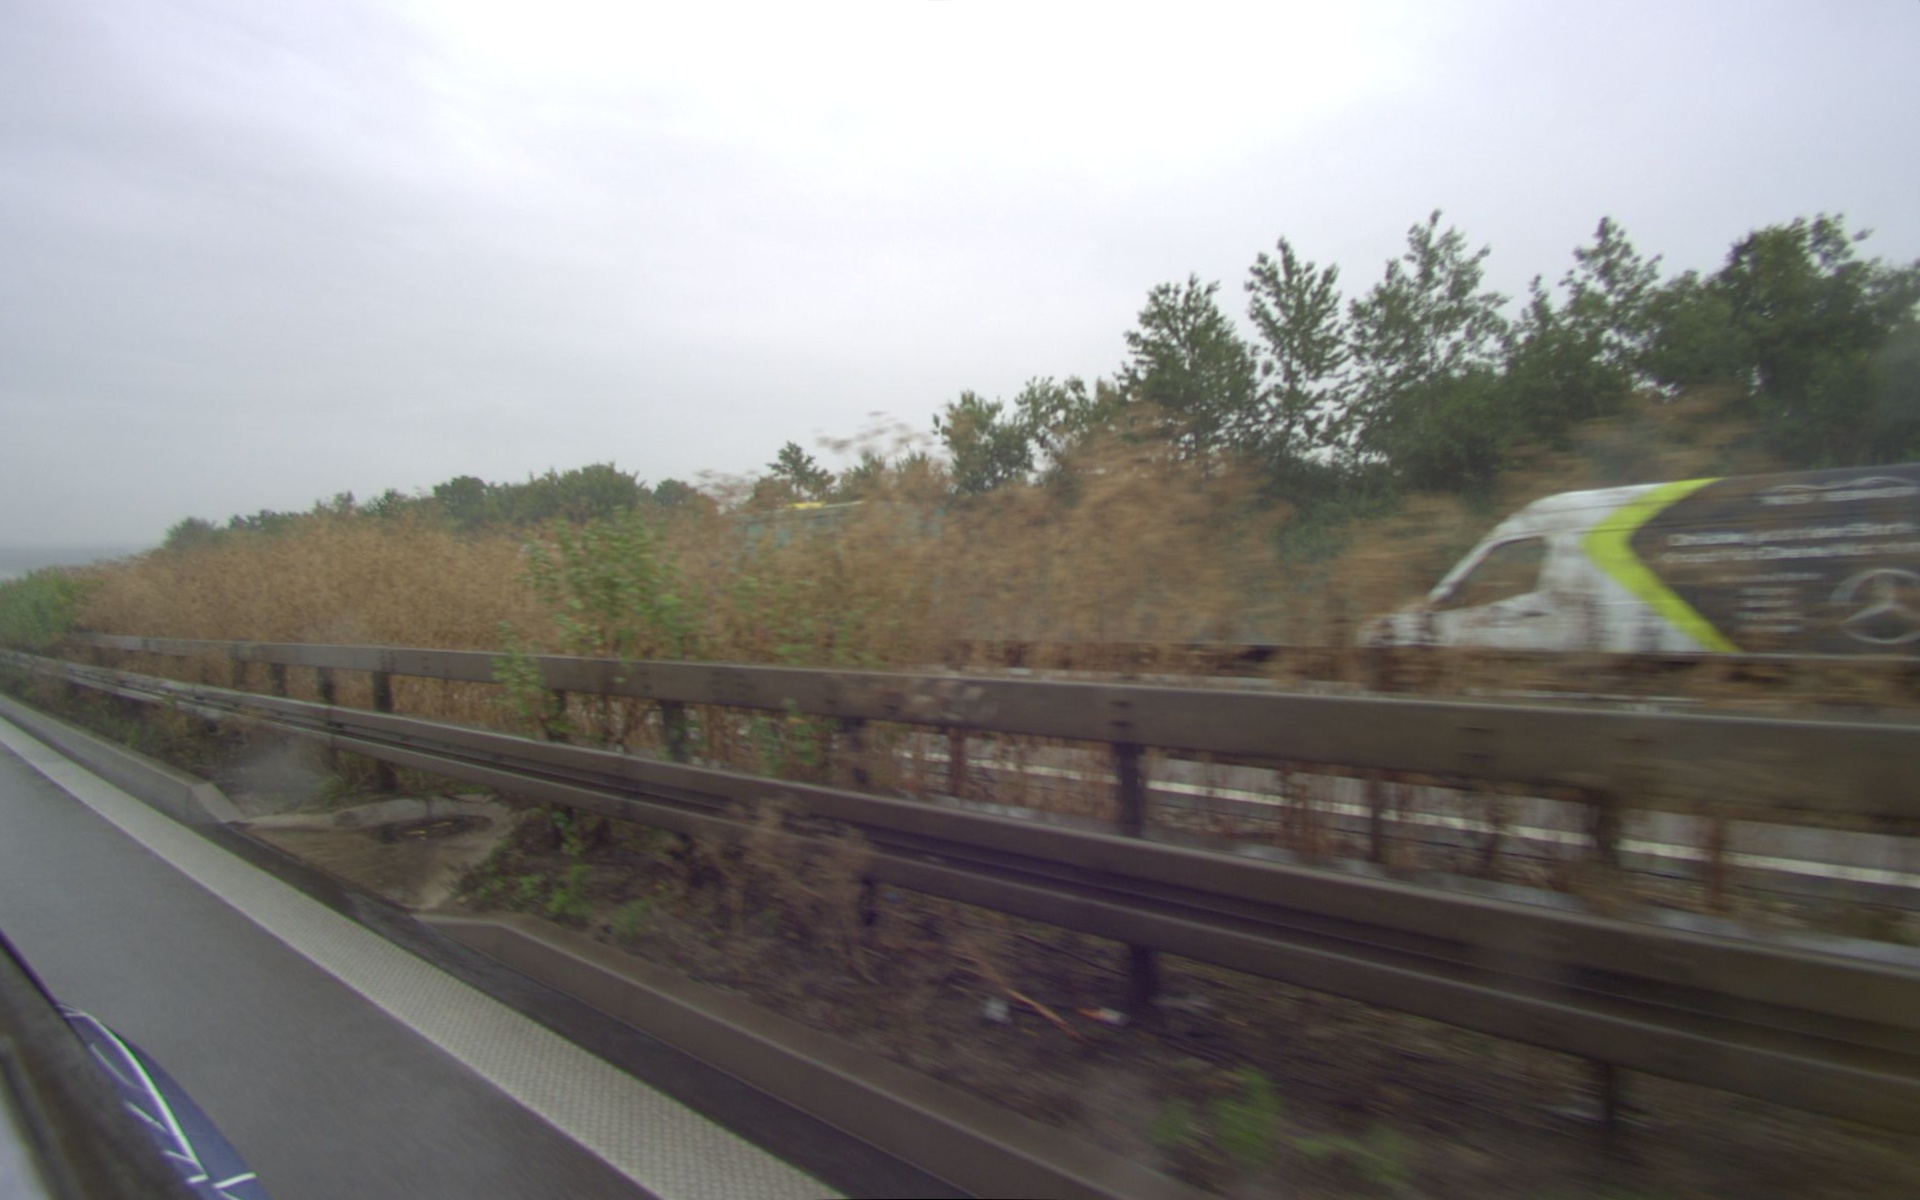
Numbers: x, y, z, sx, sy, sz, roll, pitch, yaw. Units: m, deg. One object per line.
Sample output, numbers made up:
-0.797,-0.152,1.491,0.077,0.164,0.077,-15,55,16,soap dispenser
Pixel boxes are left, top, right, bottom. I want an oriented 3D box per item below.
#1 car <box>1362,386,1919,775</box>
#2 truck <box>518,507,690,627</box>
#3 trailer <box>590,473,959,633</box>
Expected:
7.853,-0.157,11.131,6.048,3.524,1.974,-1,0,39,car
-11.039,-0.897,31.157,5.528,3.364,2.620,-1,0,41,truck
-5.333,-0.942,26.133,11.832,3.364,2.622,-1,0,41,trailer
